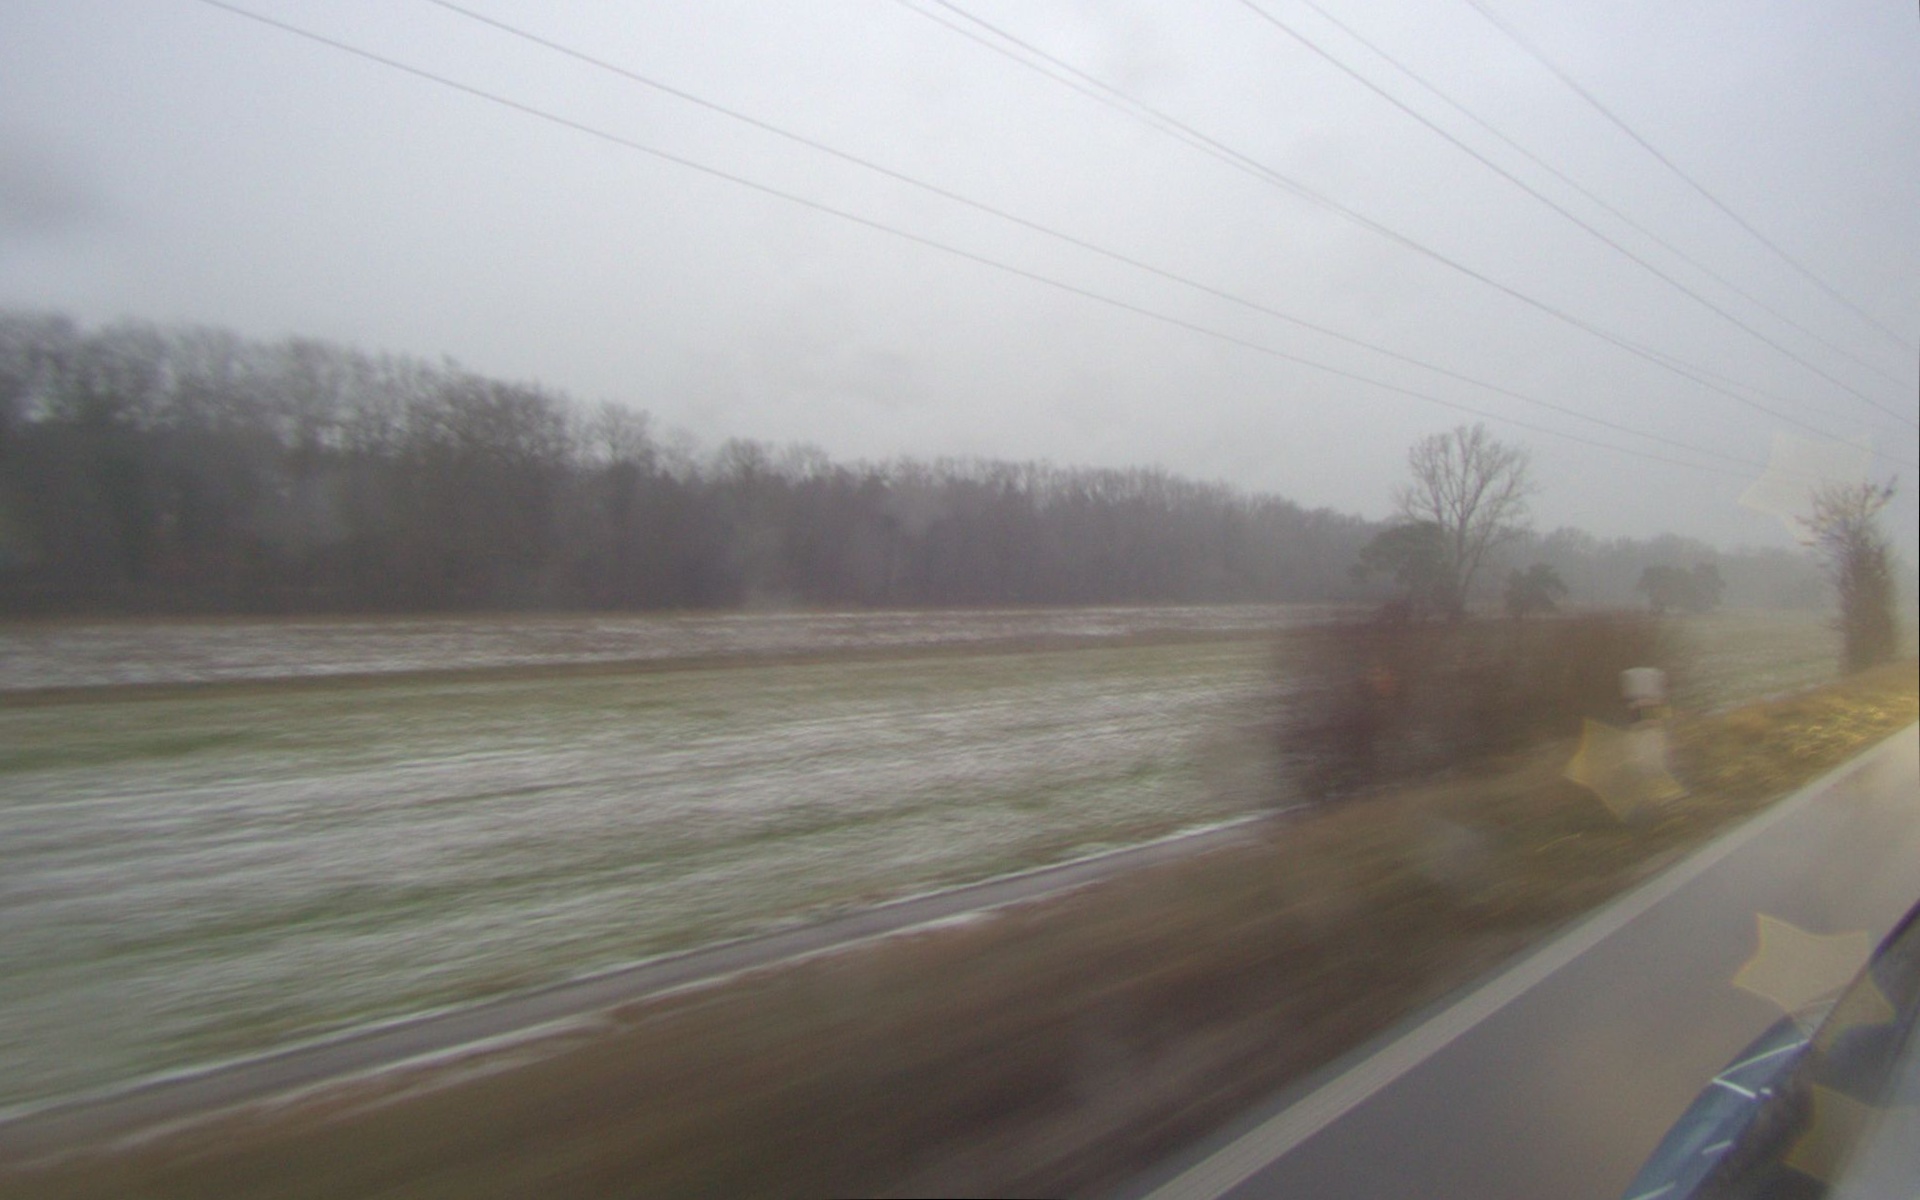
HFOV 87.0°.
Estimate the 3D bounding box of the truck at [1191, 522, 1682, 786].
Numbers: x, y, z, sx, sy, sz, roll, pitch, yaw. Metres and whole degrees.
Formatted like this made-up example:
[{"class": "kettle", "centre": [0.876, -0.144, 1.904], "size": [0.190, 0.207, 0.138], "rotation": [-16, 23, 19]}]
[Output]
[{"class": "truck", "centre": [7.470, 0.498, 14.508], "size": [10.621, 2.603, 2.507], "rotation": [0, 0, -42]}]
